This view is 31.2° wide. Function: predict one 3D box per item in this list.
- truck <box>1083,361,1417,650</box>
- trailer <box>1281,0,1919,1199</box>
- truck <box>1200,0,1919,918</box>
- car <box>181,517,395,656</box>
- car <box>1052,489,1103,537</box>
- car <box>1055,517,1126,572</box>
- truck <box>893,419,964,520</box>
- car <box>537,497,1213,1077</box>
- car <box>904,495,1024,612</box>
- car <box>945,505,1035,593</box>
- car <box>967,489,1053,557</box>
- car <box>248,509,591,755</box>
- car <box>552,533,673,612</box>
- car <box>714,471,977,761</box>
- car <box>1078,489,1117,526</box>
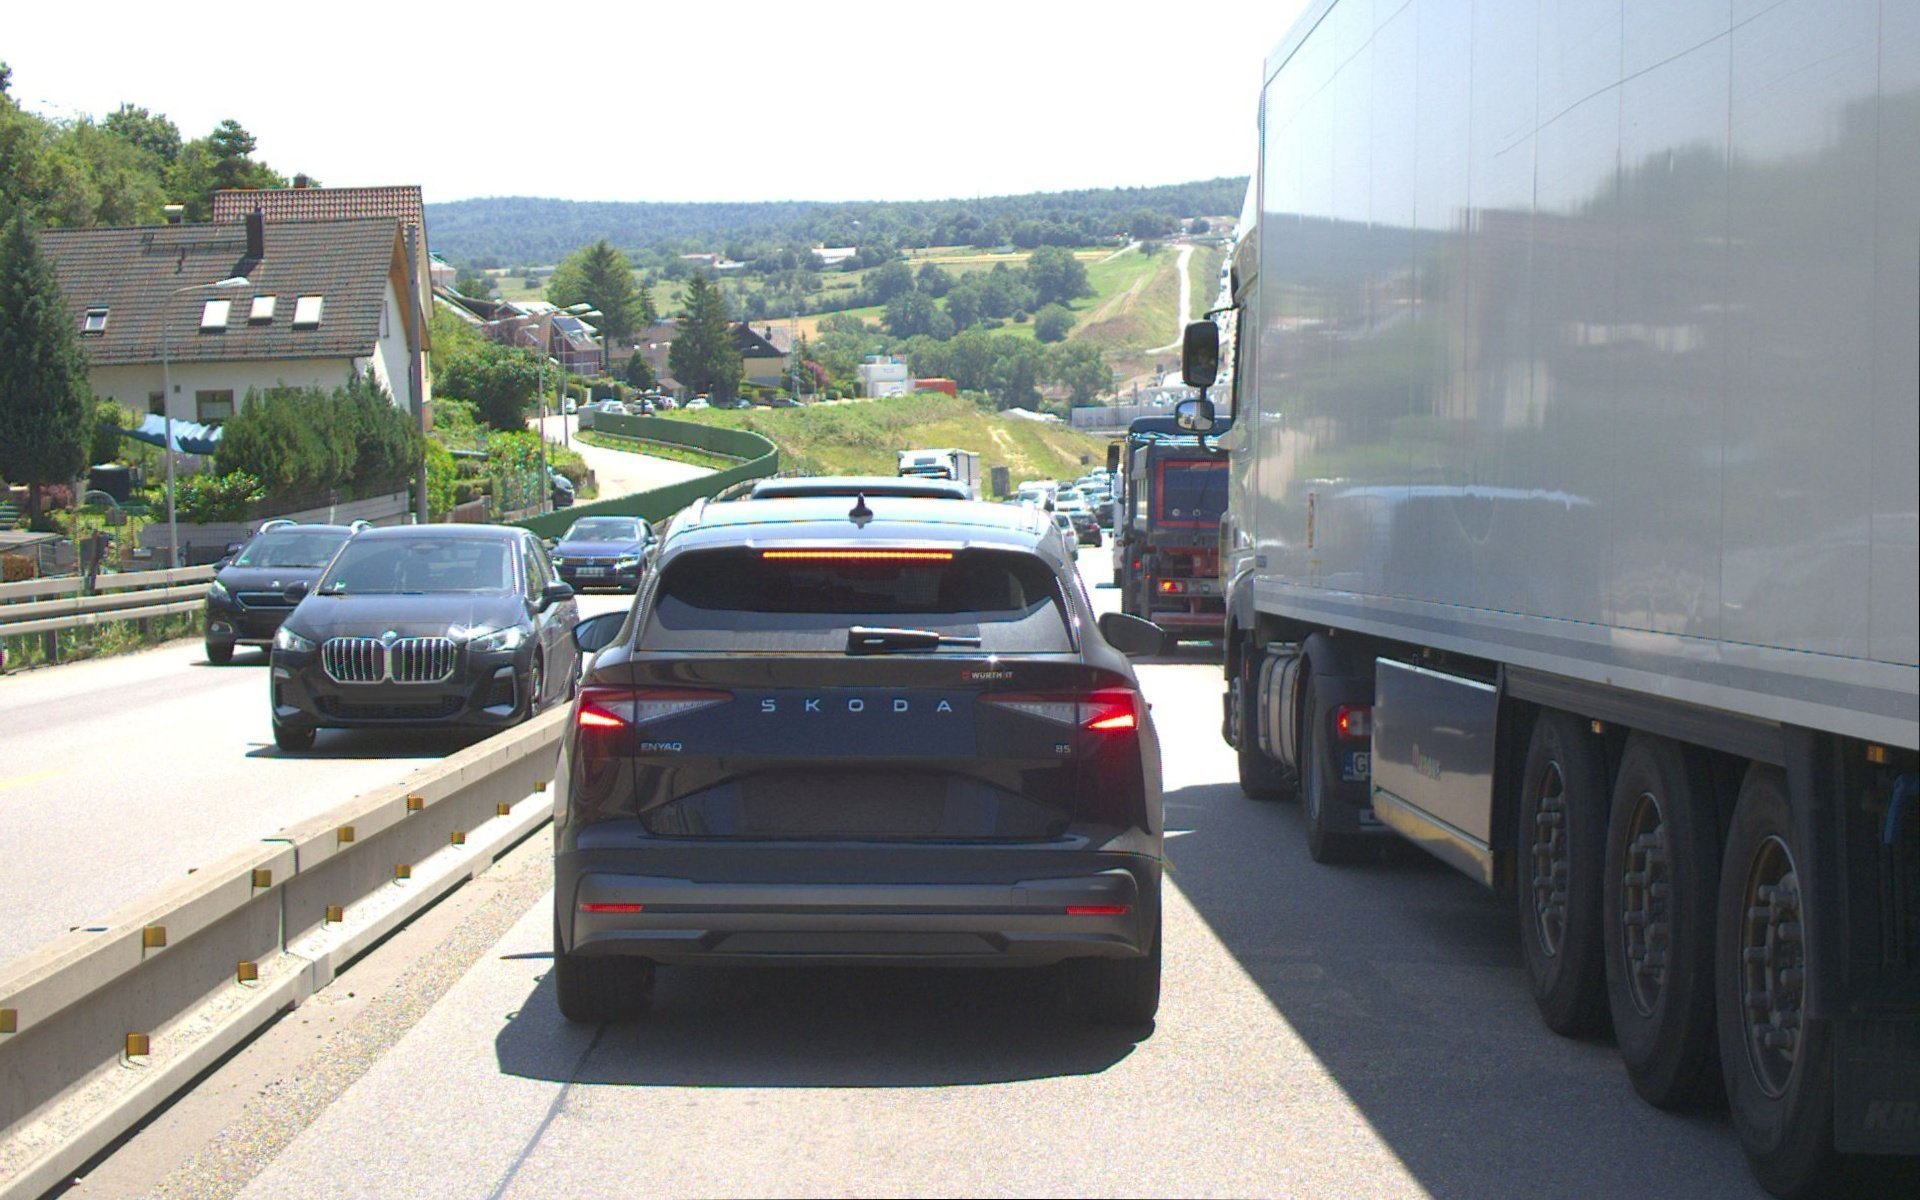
[{"bbox_3d":[3.435,-1.136,44.383,3.195,3.180,12.809,0,1,0],"label":"truck"},{"bbox_3d":[2.925,-0.842,10.187,2.531,4.112,11.549,0,1,-2],"label":"trailer"},{"bbox_3d":[2.775,-0.901,16.746,2.513,4.011,8.238,0,1,-1],"label":"truck"},{"bbox_3d":[-7.436,-0.172,38.346,1.706,1.460,3.681,0,1,-1],"label":"car"},{"bbox_3d":[4.372,-3.224,127.612,1.701,1.722,3.836,1,1,4],"label":"car"},{"bbox_3d":[3.849,-1.646,101.765,1.993,1.579,3.836,0,1,1],"label":"car"},{"bbox_3d":[-1.327,-5.622,148.256,2.752,4.268,4.957,1,2,3],"label":"truck"},{"bbox_3d":[-0.364,0.487,11.378,1.842,1.581,3.908,0,1,-4],"label":"car"},{"bbox_3d":[0.045,-0.725,51.269,1.707,1.616,4.001,1,2,0],"label":"car"},{"bbox_3d":[0.571,-1.043,68.634,1.707,1.616,4.001,1,2,0],"label":"car"},{"bbox_3d":[1.194,-1.825,82.288,1.993,1.579,3.836,0,1,1],"label":"car"},{"bbox_3d":[-3.821,0.184,24.976,1.819,1.581,4.159,2,1,0],"label":"car"},{"bbox_3d":[-6.621,-0.542,65.948,1.841,1.413,4.687,-1,1,0],"label":"car"},{"bbox_3d":[-0.887,0.032,24.519,1.706,1.875,4.001,0,2,-4],"label":"car"},{"bbox_3d":[6.575,-4.382,163.620,1.701,1.722,3.836,1,1,4],"label":"car"}]
